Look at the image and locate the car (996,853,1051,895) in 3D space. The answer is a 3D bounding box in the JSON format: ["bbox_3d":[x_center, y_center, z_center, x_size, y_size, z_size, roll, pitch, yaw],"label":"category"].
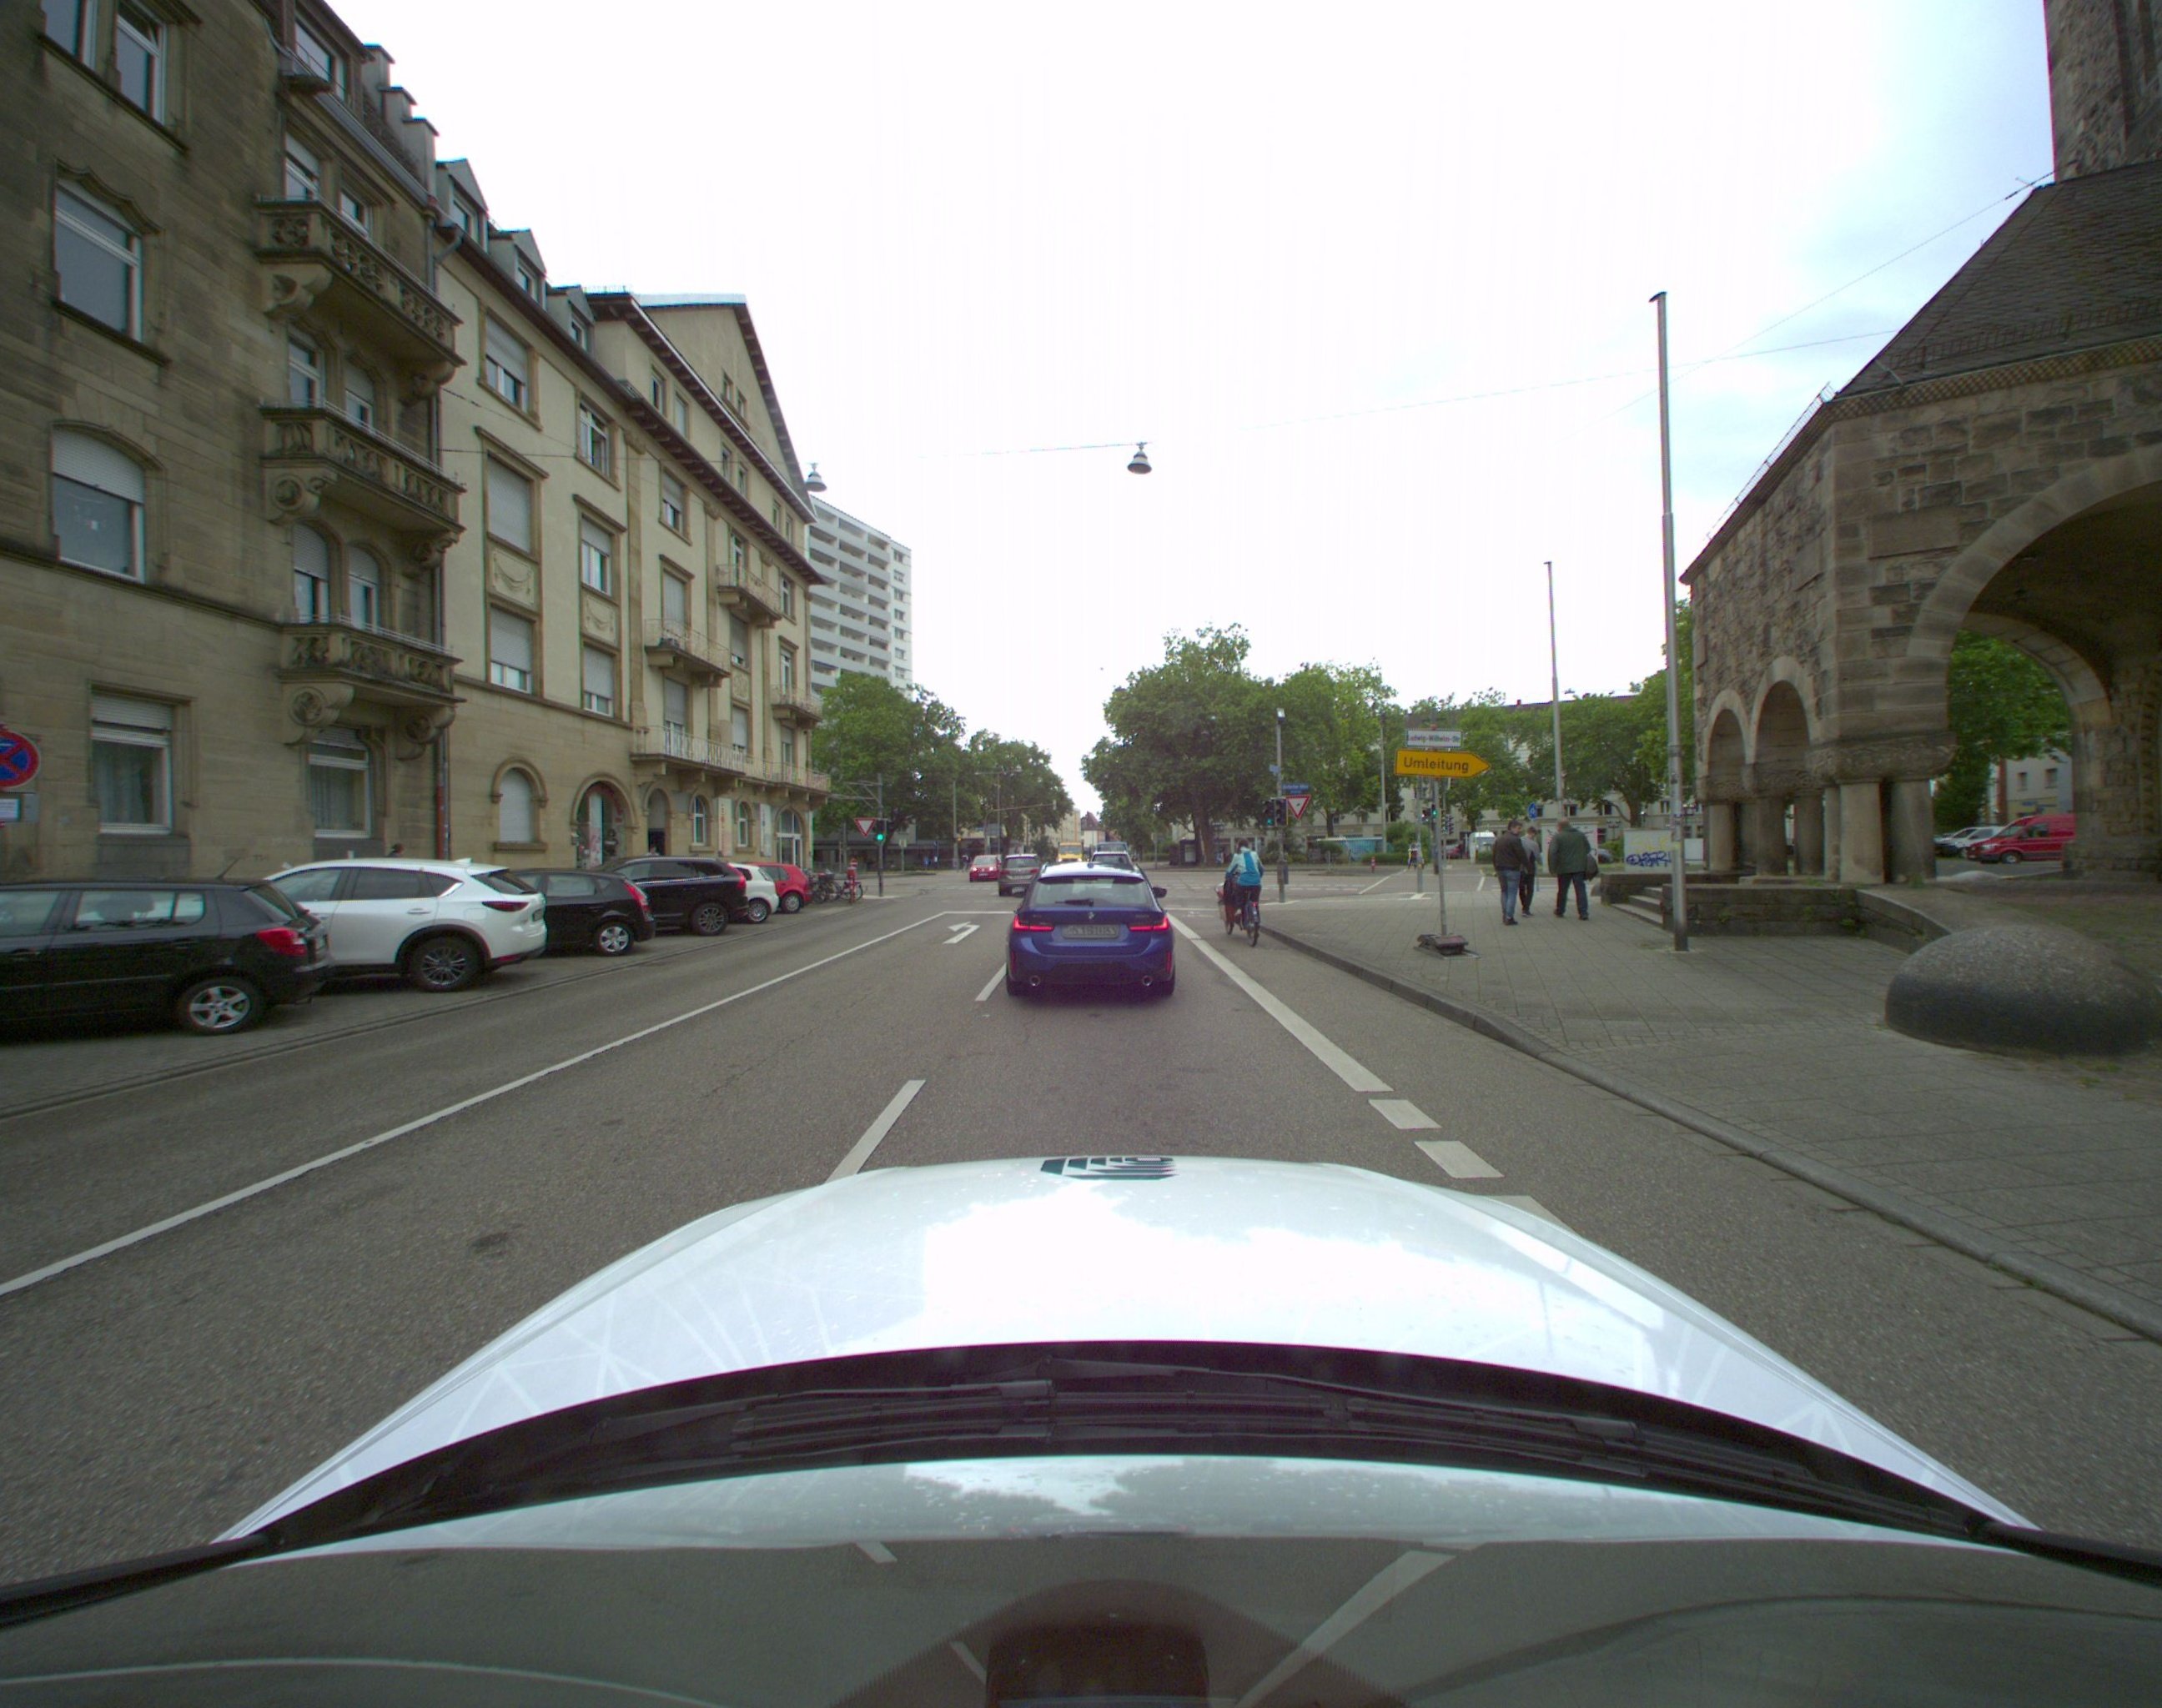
[{"bbox_3d":[-2.199,0.742,32.042,1.726,1.525,4.002,-1,0,2],"label":"car"}]

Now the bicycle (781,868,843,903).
[{"bbox_3d":[-9.219,1.072,27.950,1.880,1.035,0.442,4,0,-1],"label":"bicycle"}]

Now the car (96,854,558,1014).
[{"bbox_3d":[-9.374,0.891,10.623,4.004,1.723,1.827,-1,0,-23],"label":"car"}]

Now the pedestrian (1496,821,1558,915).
[{"bbox_3d":[8.372,0.249,15.327,0.629,1.673,0.971,-3,0,8],"label":"pedestrian"}]

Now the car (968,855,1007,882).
[{"bbox_3d":[-5.299,0.791,46.539,1.643,1.447,3.512,-1,0,2],"label":"car"}]

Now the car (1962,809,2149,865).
[{"bbox_3d":[47.864,-0.796,40.203,5.542,2.538,2.004,-2,-1,24],"label":"car"}]

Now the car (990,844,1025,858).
[{"bbox_3d":[-9.235,-0.421,102.624,4.014,1.706,1.980,0,-1,-32],"label":"car"}]

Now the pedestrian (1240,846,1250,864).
[{"bbox_3d":[16.051,0.095,79.747,0.781,1.743,0.925,-1,0,0],"label":"pedestrian"}]

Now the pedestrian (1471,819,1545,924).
[{"bbox_3d":[7.265,0.292,13.898,0.672,1.686,0.969,-3,0,2],"label":"pedestrian"}]

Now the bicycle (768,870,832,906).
[{"bbox_3d":[-9.225,1.109,26.751,1.880,1.035,0.442,4,0,-1],"label":"bicycle"}]

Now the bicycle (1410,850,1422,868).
[{"bbox_3d":[19.662,0.279,47.824,0.546,0.995,2.072,-1,0,24],"label":"bicycle"}]

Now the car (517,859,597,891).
[{"bbox_3d":[-14.818,0.580,23.101,0.910,0.834,2.015,-1,-1,2],"label":"car"}]

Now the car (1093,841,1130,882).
[{"bbox_3d":[1.562,0.363,41.981,1.808,2.005,4.002,-1,0,2],"label":"car"}]

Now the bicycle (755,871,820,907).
[{"bbox_3d":[-9.342,1.109,25.937,1.877,1.035,0.443,3,0,4],"label":"bicycle"}]

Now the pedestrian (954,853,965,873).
[{"bbox_3d":[-10.871,0.793,72.744,0.668,1.771,0.730,-1,0,43],"label":"pedestrian"}]

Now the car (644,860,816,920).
[{"bbox_3d":[-9.576,0.924,22.465,1.663,1.472,4.024,1,0,43],"label":"car"}]

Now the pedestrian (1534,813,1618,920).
[{"bbox_3d":[8.621,0.209,14.220,0.801,1.758,0.969,-3,0,2],"label":"pedestrian"}]

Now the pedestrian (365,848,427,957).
[{"bbox_3d":[-12.560,0.875,14.939,0.616,1.958,0.551,-1,0,3],"label":"pedestrian"}]

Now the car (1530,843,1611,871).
[{"bbox_3d":[29.399,0.192,49.032,3.940,1.561,1.697,-2,-1,25],"label":"car"}]

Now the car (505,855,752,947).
[{"bbox_3d":[-9.331,0.875,16.989,4.248,1.652,1.711,0,-1,-41],"label":"car"}]

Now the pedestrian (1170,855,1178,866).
[{"bbox_3d":[11.332,0.760,99.187,0.850,1.314,0.763,-1,-1,1],"label":"pedestrian"}]

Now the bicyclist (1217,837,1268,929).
[{"bbox_3d":[2.790,0.484,14.166,0.683,1.517,1.059,-1,0,2],"label":"bicyclist"}]

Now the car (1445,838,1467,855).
[{"bbox_3d":[35.426,-0.685,76.845,1.649,1.515,3.962,-1,0,28],"label":"car"}]

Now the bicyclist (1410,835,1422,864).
[{"bbox_3d":[19.658,-0.279,47.818,0.608,1.654,0.758,-1,0,23],"label":"bicyclist"}]

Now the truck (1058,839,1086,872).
[{"bbox_3d":[-0.664,0.118,64.018,2.068,2.408,5.462,-2,0,0],"label":"truck"}]

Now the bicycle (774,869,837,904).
[{"bbox_3d":[-9.222,1.092,27.287,1.880,1.035,0.442,4,0,-1],"label":"bicycle"}]

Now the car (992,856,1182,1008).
[{"bbox_3d":[0.129,0.762,10.051,1.808,1.405,4.322,-1,0,2],"label":"car"}]

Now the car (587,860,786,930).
[{"bbox_3d":[-9.404,0.934,19.583,4.021,1.472,1.546,1,0,-41],"label":"car"}]

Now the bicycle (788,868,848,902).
[{"bbox_3d":[-9.234,1.090,28.586,1.880,1.035,0.442,4,0,-1],"label":"bicycle"}]

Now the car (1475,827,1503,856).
[{"bbox_3d":[39.212,-1.141,78.138,2.214,2.639,5.480,-1,0,28],"label":"car"}]

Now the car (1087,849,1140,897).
[{"bbox_3d":[1.182,0.652,29.998,1.808,1.592,4.002,-1,0,2],"label":"car"}]

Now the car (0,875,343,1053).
[{"bbox_3d":[-9.646,0.961,7.666,3.830,1.497,1.552,1,-1,-37],"label":"car"}]

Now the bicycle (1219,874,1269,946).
[{"bbox_3d":[2.833,0.944,14.332,0.492,1.098,2.139,-1,0,2],"label":"bicycle"}]

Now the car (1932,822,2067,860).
[{"bbox_3d":[55.557,-0.752,49.423,5.025,2.096,2.004,-2,-1,25],"label":"car"}]

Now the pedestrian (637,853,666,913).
[{"bbox_3d":[-13.072,0.866,24.797,0.564,1.785,0.551,-1,0,3],"label":"pedestrian"}]

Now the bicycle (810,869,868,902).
[{"bbox_3d":[-8.654,1.115,29.120,1.880,1.035,0.442,4,0,-1],"label":"bicycle"}]

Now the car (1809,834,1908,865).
[{"bbox_3d":[41.392,-0.215,43.436,3.424,1.561,1.697,-2,-1,25],"label":"car"}]

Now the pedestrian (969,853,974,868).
[{"bbox_3d":[-12.685,0.720,94.393,0.570,1.771,0.514,-1,0,-6],"label":"pedestrian"}]

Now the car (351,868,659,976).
[{"bbox_3d":[-9.460,1.012,13.689,4.017,1.494,1.713,0,0,-36],"label":"car"}]

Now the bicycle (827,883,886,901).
[{"bbox_3d":[-8.286,1.404,30.150,1.880,0.445,1.029,4,2,-1],"label":"bicycle"}]

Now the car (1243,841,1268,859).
[{"bbox_3d":[22.279,-0.464,103.650,2.154,2.200,4.024,-2,0,26],"label":"car"}]
